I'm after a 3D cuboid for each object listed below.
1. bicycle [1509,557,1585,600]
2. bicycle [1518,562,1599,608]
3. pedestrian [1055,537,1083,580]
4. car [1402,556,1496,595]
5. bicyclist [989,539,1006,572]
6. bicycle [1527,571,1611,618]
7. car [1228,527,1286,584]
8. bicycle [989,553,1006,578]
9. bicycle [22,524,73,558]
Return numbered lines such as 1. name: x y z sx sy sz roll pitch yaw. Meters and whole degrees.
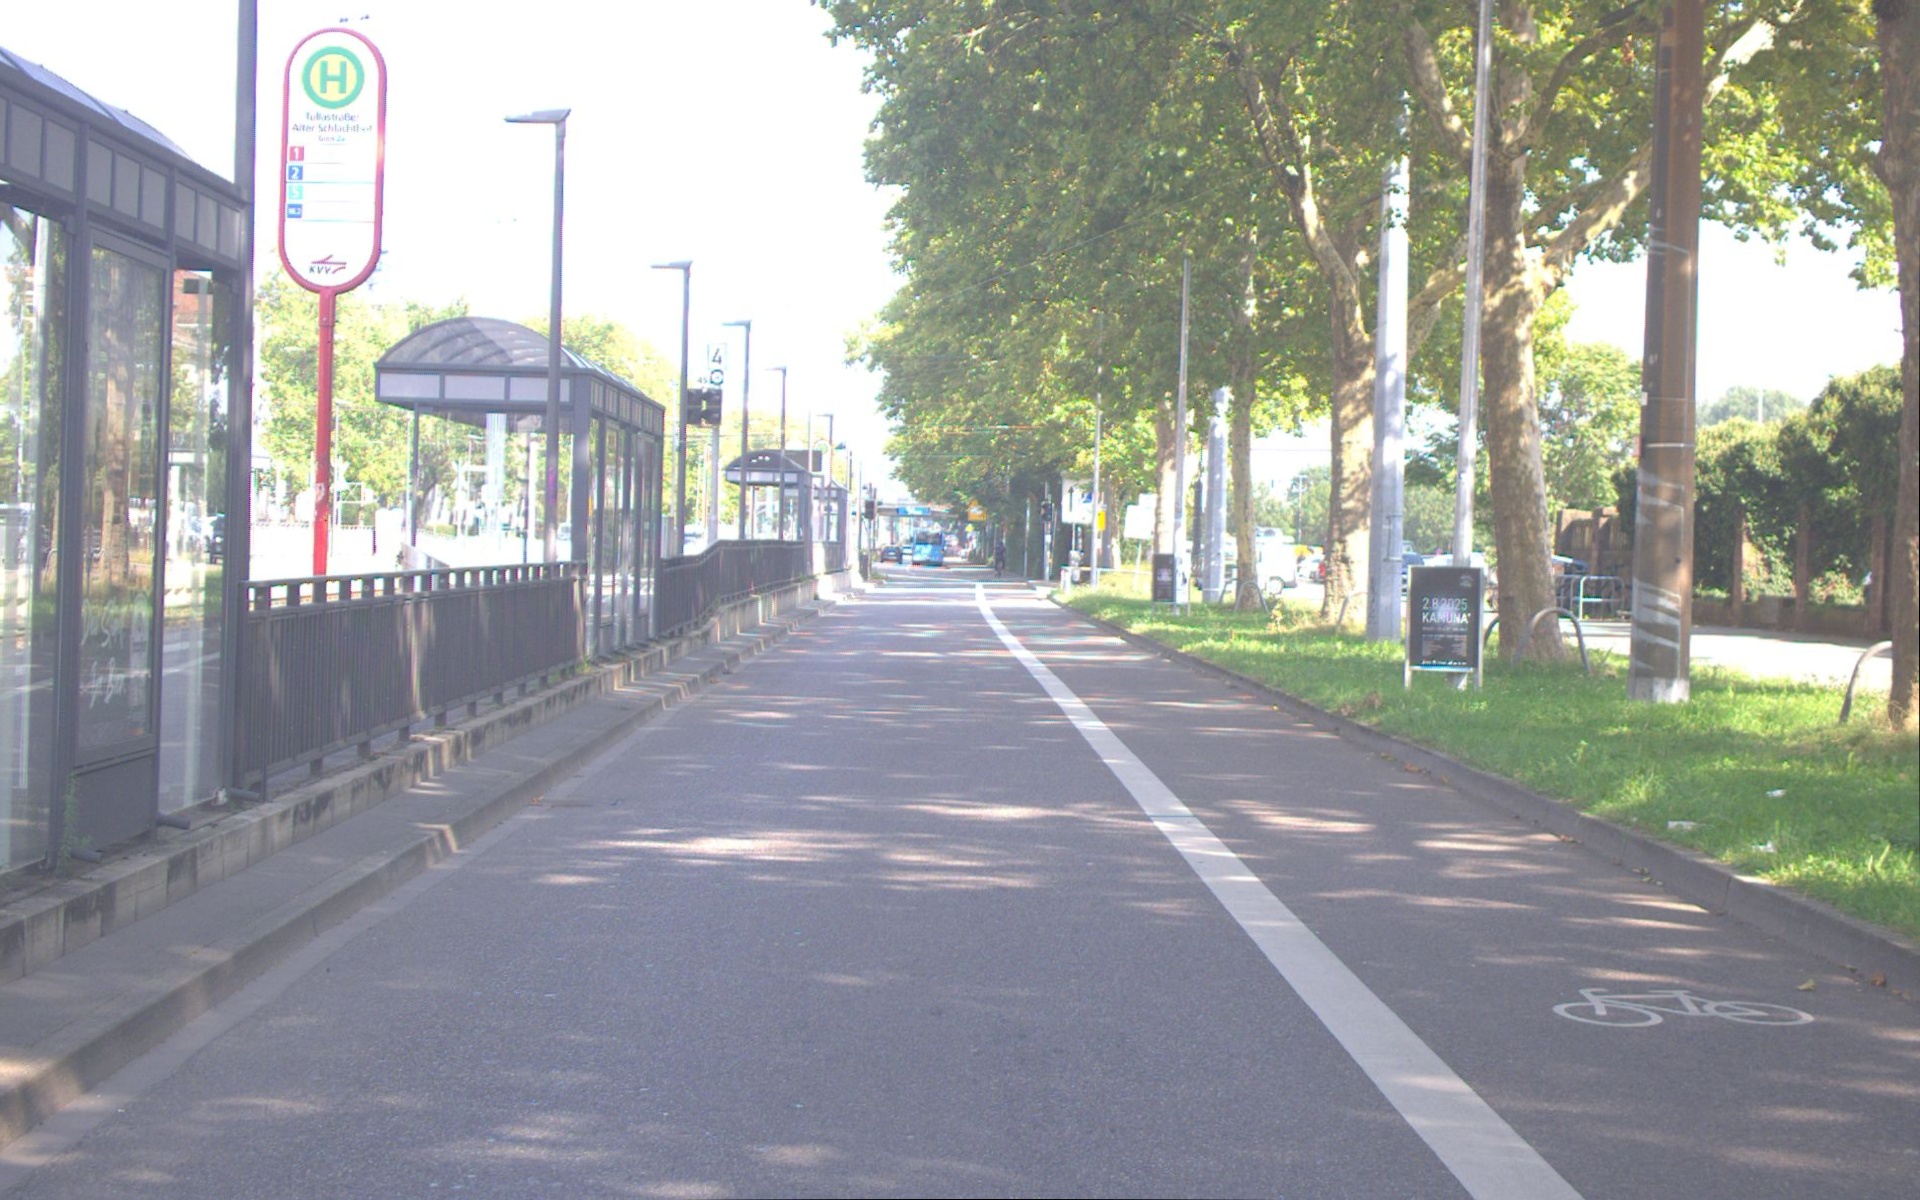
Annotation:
1. bicycle: 13.272 -0.486 77.765 1.656 0.966 0.506 0 1 2
2. bicycle: 12.774 -0.327 73.427 1.656 0.966 0.506 0 1 5
3. pedestrian: 4.123 -1.571 130.124 0.626 1.612 0.843 2 1 37
4. car: 20.380 -1.021 143.362 3.775 1.441 1.526 3 1 6
5. bicyclist: 1.734 -2.032 157.242 0.705 1.456 1.009 3 1 0
6. bicycle: 12.486 -0.113 70.527 1.656 0.966 0.506 0 1 5
7. car: 10.995 -1.659 127.494 1.722 2.041 4.462 1 1 0
8. bicycle: 1.716 -1.563 157.170 0.715 1.104 2.509 3 1 0
9. bicycle: -18.170 -1.182 68.505 0.477 0.660 1.613 1 1 4
